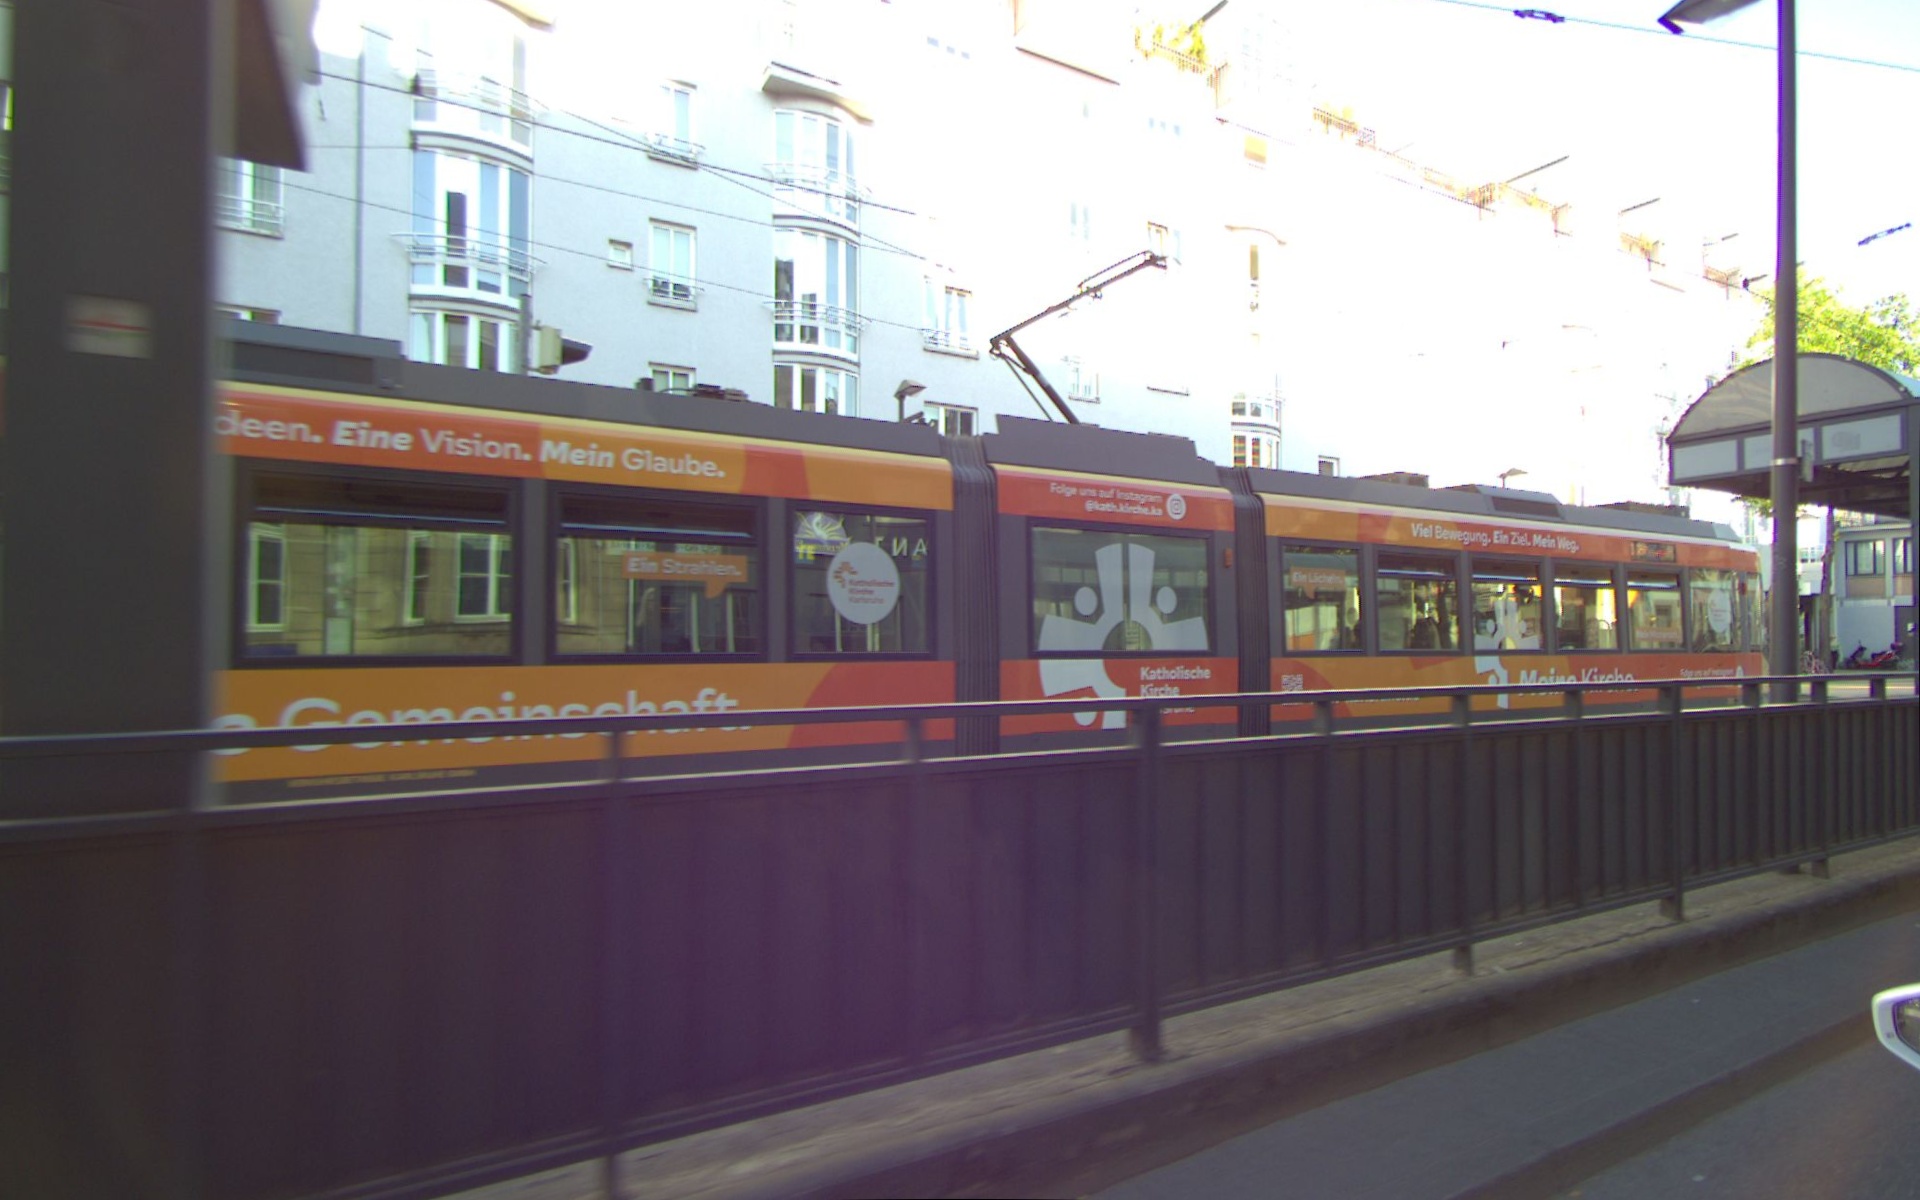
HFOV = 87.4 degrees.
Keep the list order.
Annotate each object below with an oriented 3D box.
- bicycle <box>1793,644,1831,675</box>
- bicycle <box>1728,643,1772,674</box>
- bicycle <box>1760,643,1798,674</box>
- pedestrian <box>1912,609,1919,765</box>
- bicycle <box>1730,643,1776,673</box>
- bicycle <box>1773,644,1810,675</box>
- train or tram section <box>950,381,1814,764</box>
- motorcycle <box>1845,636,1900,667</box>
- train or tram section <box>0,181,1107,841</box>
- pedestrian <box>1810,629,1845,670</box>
[{"bbox_3d":[32.517,2.270,38.333,1.779,1.122,0.496,0,1,-30],"label":"bicycle"},{"bbox_3d":[30.001,2.220,38.151,1.247,1.122,0.500,1,1,-3],"label":"bicycle"},{"bbox_3d":[31.533,2.251,38.662,1.779,1.122,0.496,0,1,-30],"label":"bicycle"},{"bbox_3d":[7.719,0.656,7.538,0.530,1.191,0.682,1,-2,-29],"label":"pedestrian"},{"bbox_3d":[30.839,2.233,39.053,1.772,1.122,0.498,1,1,-19],"label":"bicycle"},{"bbox_3d":[31.647,2.252,38.233,1.779,1.122,0.496,0,1,-30],"label":"bicycle"},{"bbox_3d":[7.009,-0.039,14.195,14.771,3.536,2.872,2,-1,-30],"label":"train or tram section"},{"bbox_3d":[42.055,2.357,46.297,0.600,1.315,1.782,1,1,-35],"label":"motorcycle"},{"bbox_3d":[-5.374,-0.445,6.925,14.004,3.536,2.871,2,-2,-31],"label":"train or tram section"},{"bbox_3d":[37.839,2.142,43.821,0.999,1.683,0.919,1,0,32],"label":"pedestrian"}]
